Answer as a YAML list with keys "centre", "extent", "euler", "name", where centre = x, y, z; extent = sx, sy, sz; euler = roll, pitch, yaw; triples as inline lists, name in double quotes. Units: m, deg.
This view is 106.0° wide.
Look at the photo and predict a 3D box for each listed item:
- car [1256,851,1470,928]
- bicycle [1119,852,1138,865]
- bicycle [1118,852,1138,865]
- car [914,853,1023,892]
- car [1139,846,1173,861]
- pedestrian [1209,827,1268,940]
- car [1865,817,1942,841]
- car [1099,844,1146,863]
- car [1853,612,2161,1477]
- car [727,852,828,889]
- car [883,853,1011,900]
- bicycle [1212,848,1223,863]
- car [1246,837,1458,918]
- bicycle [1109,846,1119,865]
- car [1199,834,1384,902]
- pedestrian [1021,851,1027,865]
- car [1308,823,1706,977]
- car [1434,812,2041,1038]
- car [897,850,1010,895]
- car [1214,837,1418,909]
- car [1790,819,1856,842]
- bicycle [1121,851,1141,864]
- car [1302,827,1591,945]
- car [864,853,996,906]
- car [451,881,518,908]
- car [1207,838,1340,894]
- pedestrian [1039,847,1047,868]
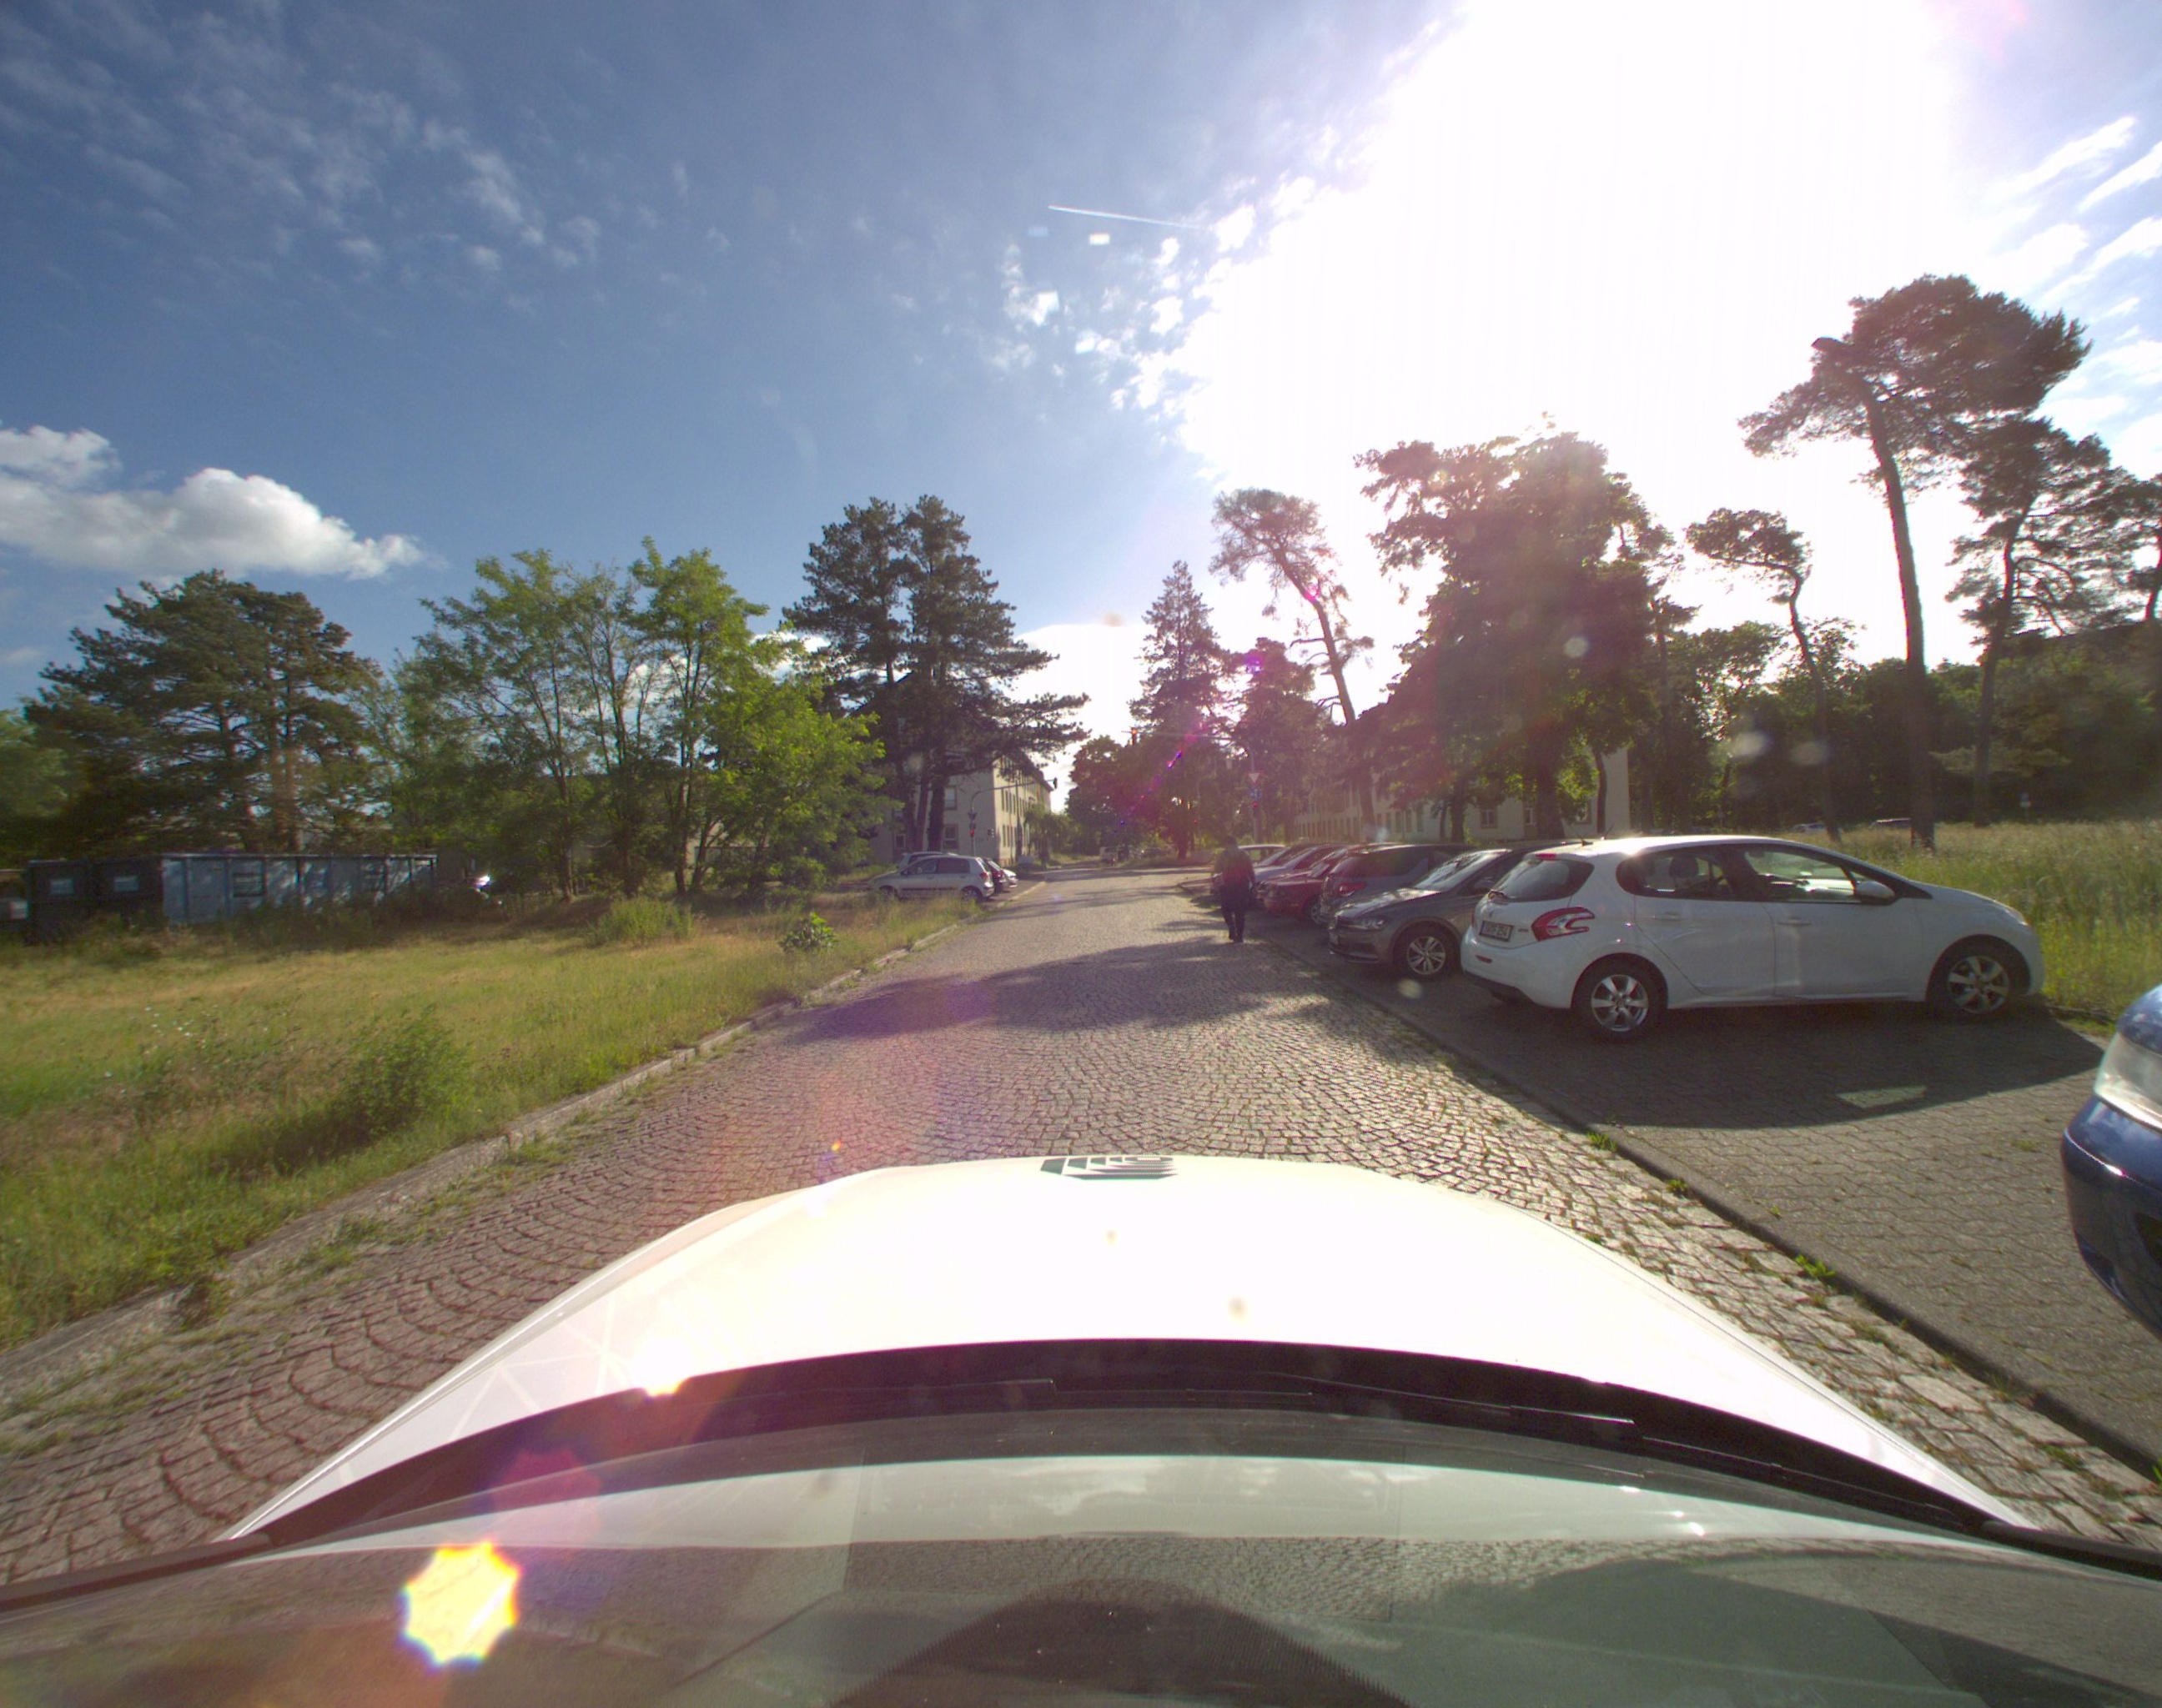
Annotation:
- centre: [5.131, 0.629, 15.143]
  extent: [3.447, 1.242, 1.537]
  euler: [-2, 0, 2]
  name: "car"
- centre: [4.362, 0.396, 74.696]
  extent: [1.722, 1.112, 0.484]
  euler: [-2, 0, -2]
  name: "bicycle"
- centre: [4.273, 0.400, 74.153]
  extent: [1.829, 1.112, 0.495]
  euler: [-2, 0, -2]
  name: "bicycle"
- centre: [-4.448, 0.723, 32.566]
  extent: [3.966, 1.496, 1.776]
  euler: [0, 0, 6]
  name: "car"
- centre: [8.849, -0.040, 95.869]
  extent: [3.738, 1.580, 1.738]
  euler: [-2, 0, -6]
  name: "car"
- centre: [2.515, 0.455, 13.075]
  extent: [0.750, 1.725, 0.829]
  euler: [3, 0, 2]
  name: "pedestrian"
- centre: [59.027, -1.771, 58.471]
  extent: [3.619, 1.497, 1.769]
  euler: [-2, 0, 4]
  name: "car"
- centre: [4.682, -0.065, 92.073]
  extent: [5.063, 1.918, 1.995]
  euler: [-2, 0, -8]
  name: "car"
- centre: [4.821, 0.294, 1.497]
  extent: [4.735, 2.013, 2.001]
  euler: [-4, 0, 2]
  name: "car"
- centre: [-14.924, 0.787, 40.169]
  extent: [4.127, 1.608, 2.011]
  euler: [-2, 0, 3]
  name: "car"
- centre: [-4.418, 0.715, 27.227]
  extent: [3.924, 1.445, 1.691]
  euler: [1, 0, 0]
  name: "car"
- centre: [10.395, 0.121, 62.073]
  extent: [0.717, 1.115, 2.592]
  euler: [-2, 0, 12]
  name: "bicycle"
- centre: [5.717, 0.473, 17.518]
  extent: [3.965, 1.448, 1.656]
  euler: [-3, 0, 1]
  name: "car"
- centre: [2.869, 0.138, 70.833]
  extent: [0.750, 1.580, 2.538]
  euler: [-2, 0, 2]
  name: "bicycle"
- centre: [5.765, 0.366, 22.680]
  extent: [4.605, 1.455, 1.869]
  euler: [-4, 0, -1]
  name: "car"
- centre: [-6.198, 0.435, 88.458]
  extent: [0.606, 1.559, 0.544]
  euler: [-2, 0, -5]
  name: "pedestrian"
- centre: [4.825, 0.500, 9.680]
  extent: [3.765, 1.450, 1.759]
  euler: [-4, 0, 3]
  name: "car"
- centre: [5.108, 0.518, 6.738]
  extent: [3.630, 1.492, 1.635]
  euler: [-3, 0, 2]
  name: "car"
- centre: [-4.630, 0.664, 29.945]
  extent: [3.866, 1.615, 1.661]
  euler: [0, 0, 0]
  name: "car"
- centre: [5.592, 0.435, 19.766]
  extent: [4.384, 1.388, 1.789]
  euler: [-4, 0, 1]
  name: "car"
- centre: [60.056, -1.908, 65.977]
  extent: [3.619, 1.671, 1.769]
  euler: [-2, 0, 4]
  name: "car"
- centre: [4.622, 0.348, 75.371]
  extent: [1.722, 1.164, 0.561]
  euler: [-2, 0, -2]
  name: "bicycle"
- centre: [5.470, 0.459, 12.538]
  extent: [3.649, 1.455, 1.667]
  euler: [-4, 0, 2]
  name: "car"
- centre: [-4.481, 0.750, 24.562]
  extent: [3.674, 1.527, 1.699]
  euler: [0, 0, -1]
  name: "car"
- centre: [-45.120, 3.054, 61.718]
  extent: [1.856, 1.778, 4.008]
  euler: [-2, 0, 5]
  name: "car"
- centre: [5.872, 0.358, 25.119]
  extent: [3.659, 1.443, 1.666]
  euler: [-4, 0, 2]
  name: "car"
- centre: [-3.296, 0.316, 70.533]
  extent: [0.604, 1.752, 0.630]
  euler: [-2, 0, 1]
  name: "pedestrian"
